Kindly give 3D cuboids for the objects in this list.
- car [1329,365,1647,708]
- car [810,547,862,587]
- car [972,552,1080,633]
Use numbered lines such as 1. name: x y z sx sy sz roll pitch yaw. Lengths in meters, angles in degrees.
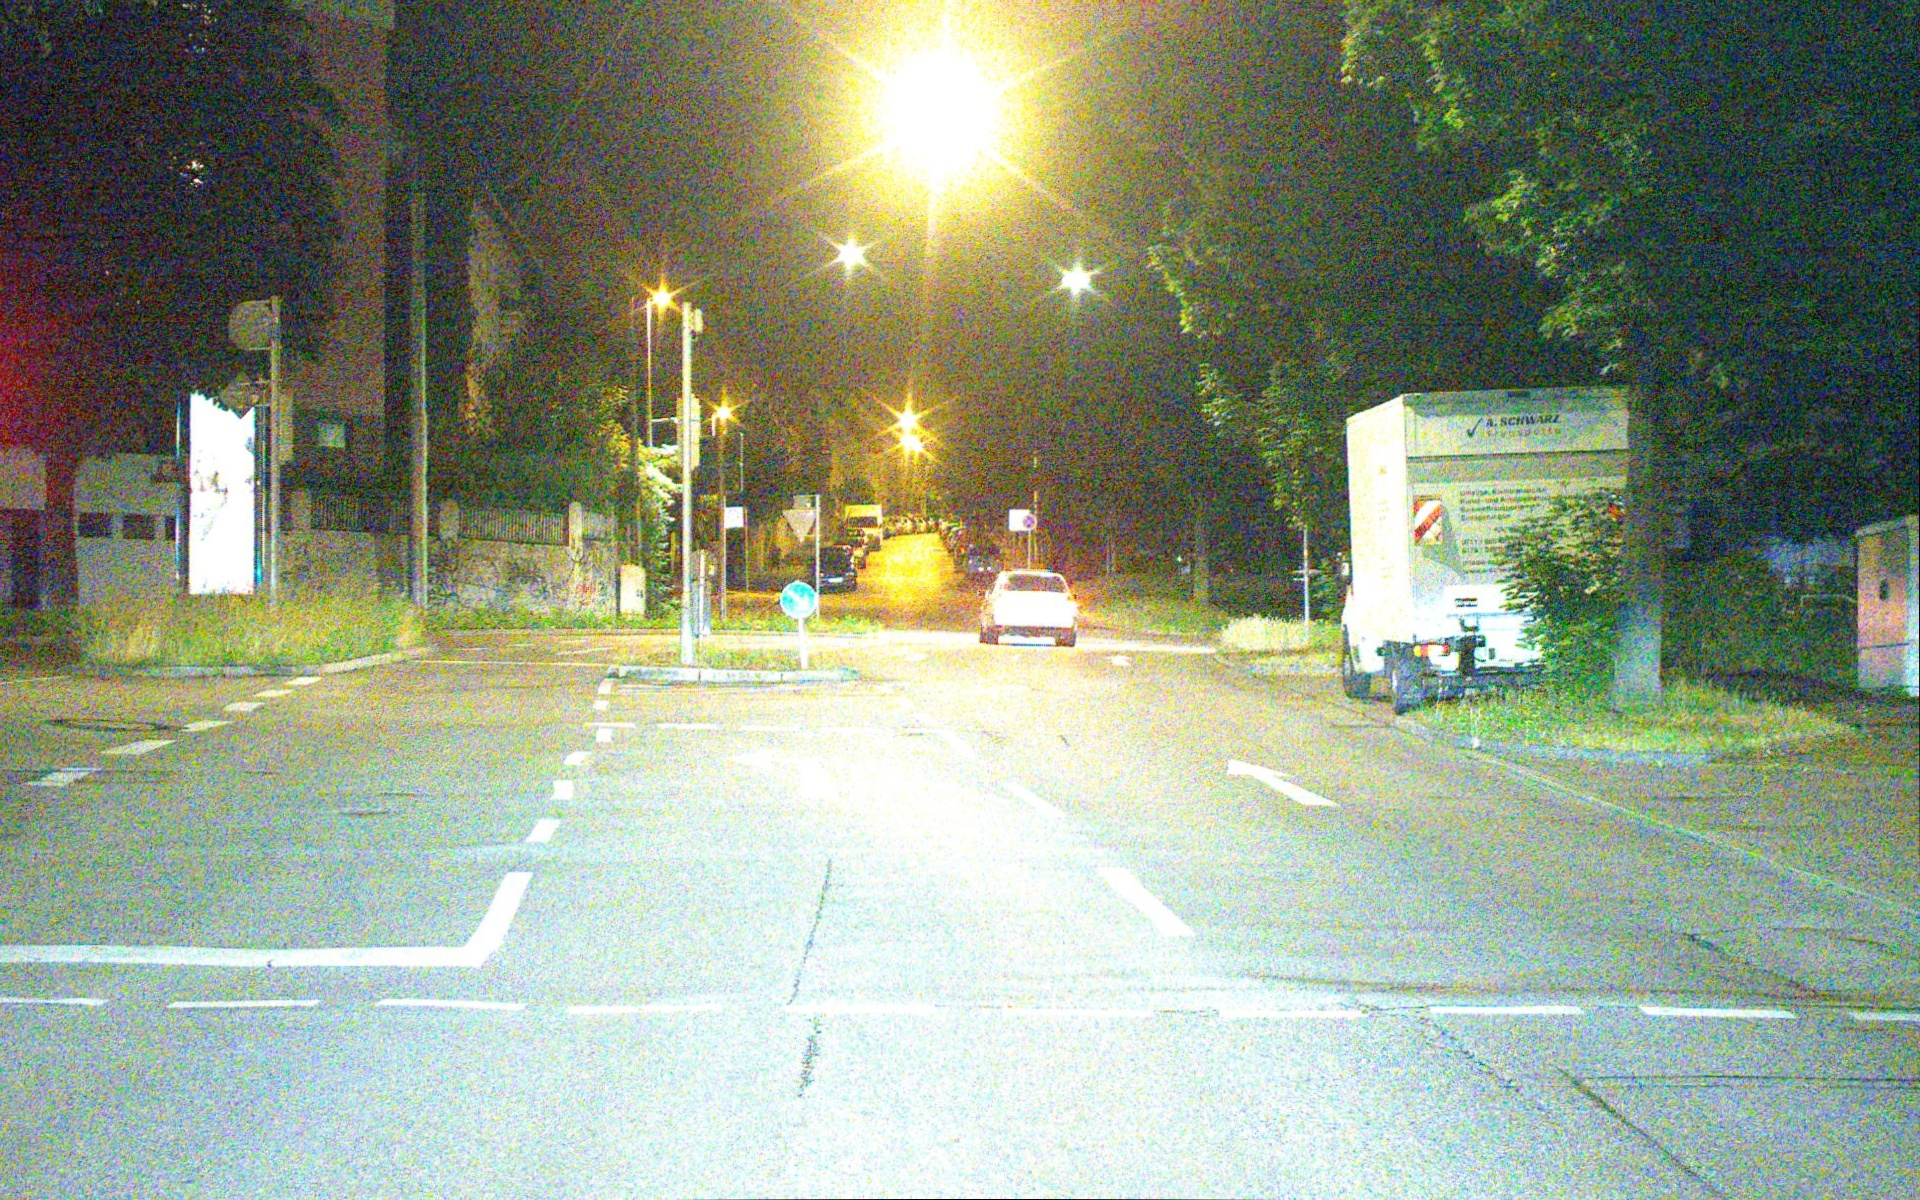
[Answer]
1. car: 5.120 -0.611 34.229 2.297 3.082 5.840 -1 1 1
2. car: -4.844 -1.291 134.392 1.908 1.552 3.904 1 1 -1
3. car: 1.229 -0.161 65.744 1.776 1.481 4.000 1 1 -3
